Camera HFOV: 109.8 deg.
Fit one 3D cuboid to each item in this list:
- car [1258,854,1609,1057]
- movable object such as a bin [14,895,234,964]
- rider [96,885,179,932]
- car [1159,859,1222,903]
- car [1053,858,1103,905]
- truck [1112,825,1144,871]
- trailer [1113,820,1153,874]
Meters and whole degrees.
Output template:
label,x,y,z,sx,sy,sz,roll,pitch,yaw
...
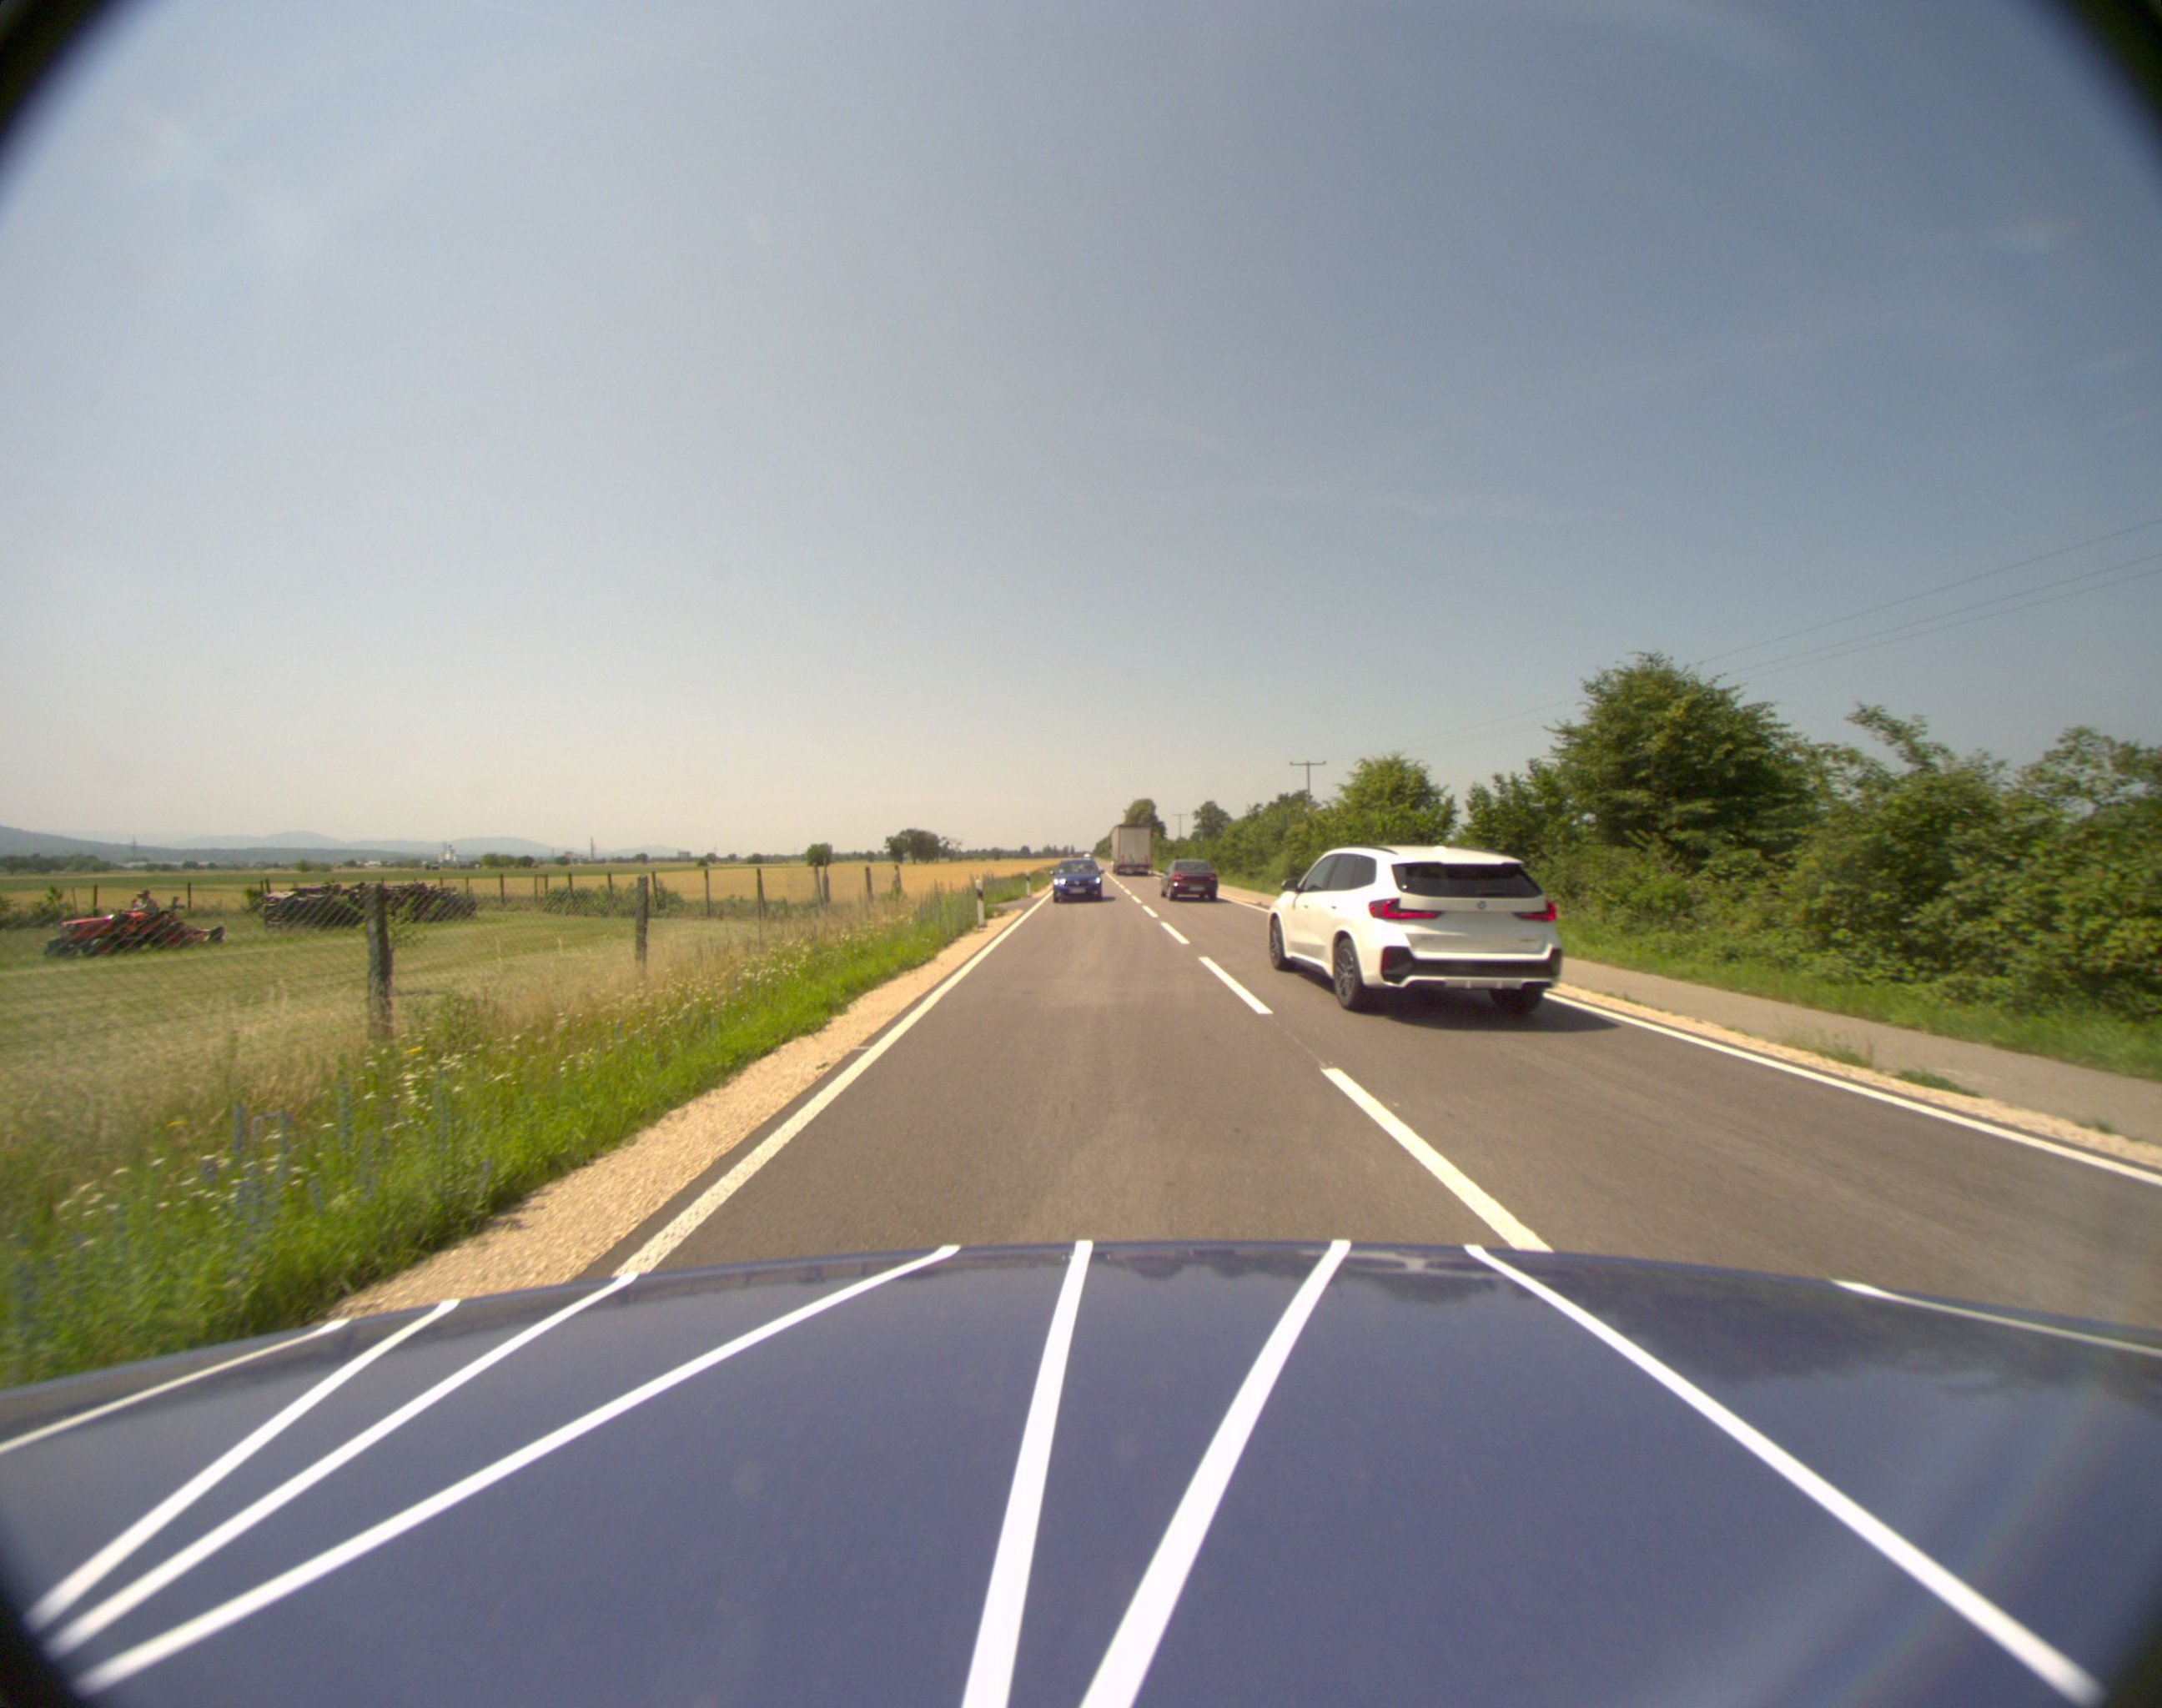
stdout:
label,x,y,z,sx,sy,sz,roll,pitch,yaw
car,3.355,0.821,8.347,1.763,1.597,4.481,1,0,0
movable object such as a bin,-26.467,2.027,21.228,1.575,1.487,3.657,-2,0,-4
rider,-26.362,1.519,21.244,1.027,1.210,0.985,-2,1,-5
car,3.805,0.905,27.084,1.698,1.398,4.045,1,0,1
car,-0.100,0.950,27.882,1.662,1.508,4.000,-3,0,0
truck,4.466,-0.551,72.972,2.723,4.241,7.389,0,0,1
trailer,4.364,-0.561,66.242,2.723,4.241,13.810,0,0,1
